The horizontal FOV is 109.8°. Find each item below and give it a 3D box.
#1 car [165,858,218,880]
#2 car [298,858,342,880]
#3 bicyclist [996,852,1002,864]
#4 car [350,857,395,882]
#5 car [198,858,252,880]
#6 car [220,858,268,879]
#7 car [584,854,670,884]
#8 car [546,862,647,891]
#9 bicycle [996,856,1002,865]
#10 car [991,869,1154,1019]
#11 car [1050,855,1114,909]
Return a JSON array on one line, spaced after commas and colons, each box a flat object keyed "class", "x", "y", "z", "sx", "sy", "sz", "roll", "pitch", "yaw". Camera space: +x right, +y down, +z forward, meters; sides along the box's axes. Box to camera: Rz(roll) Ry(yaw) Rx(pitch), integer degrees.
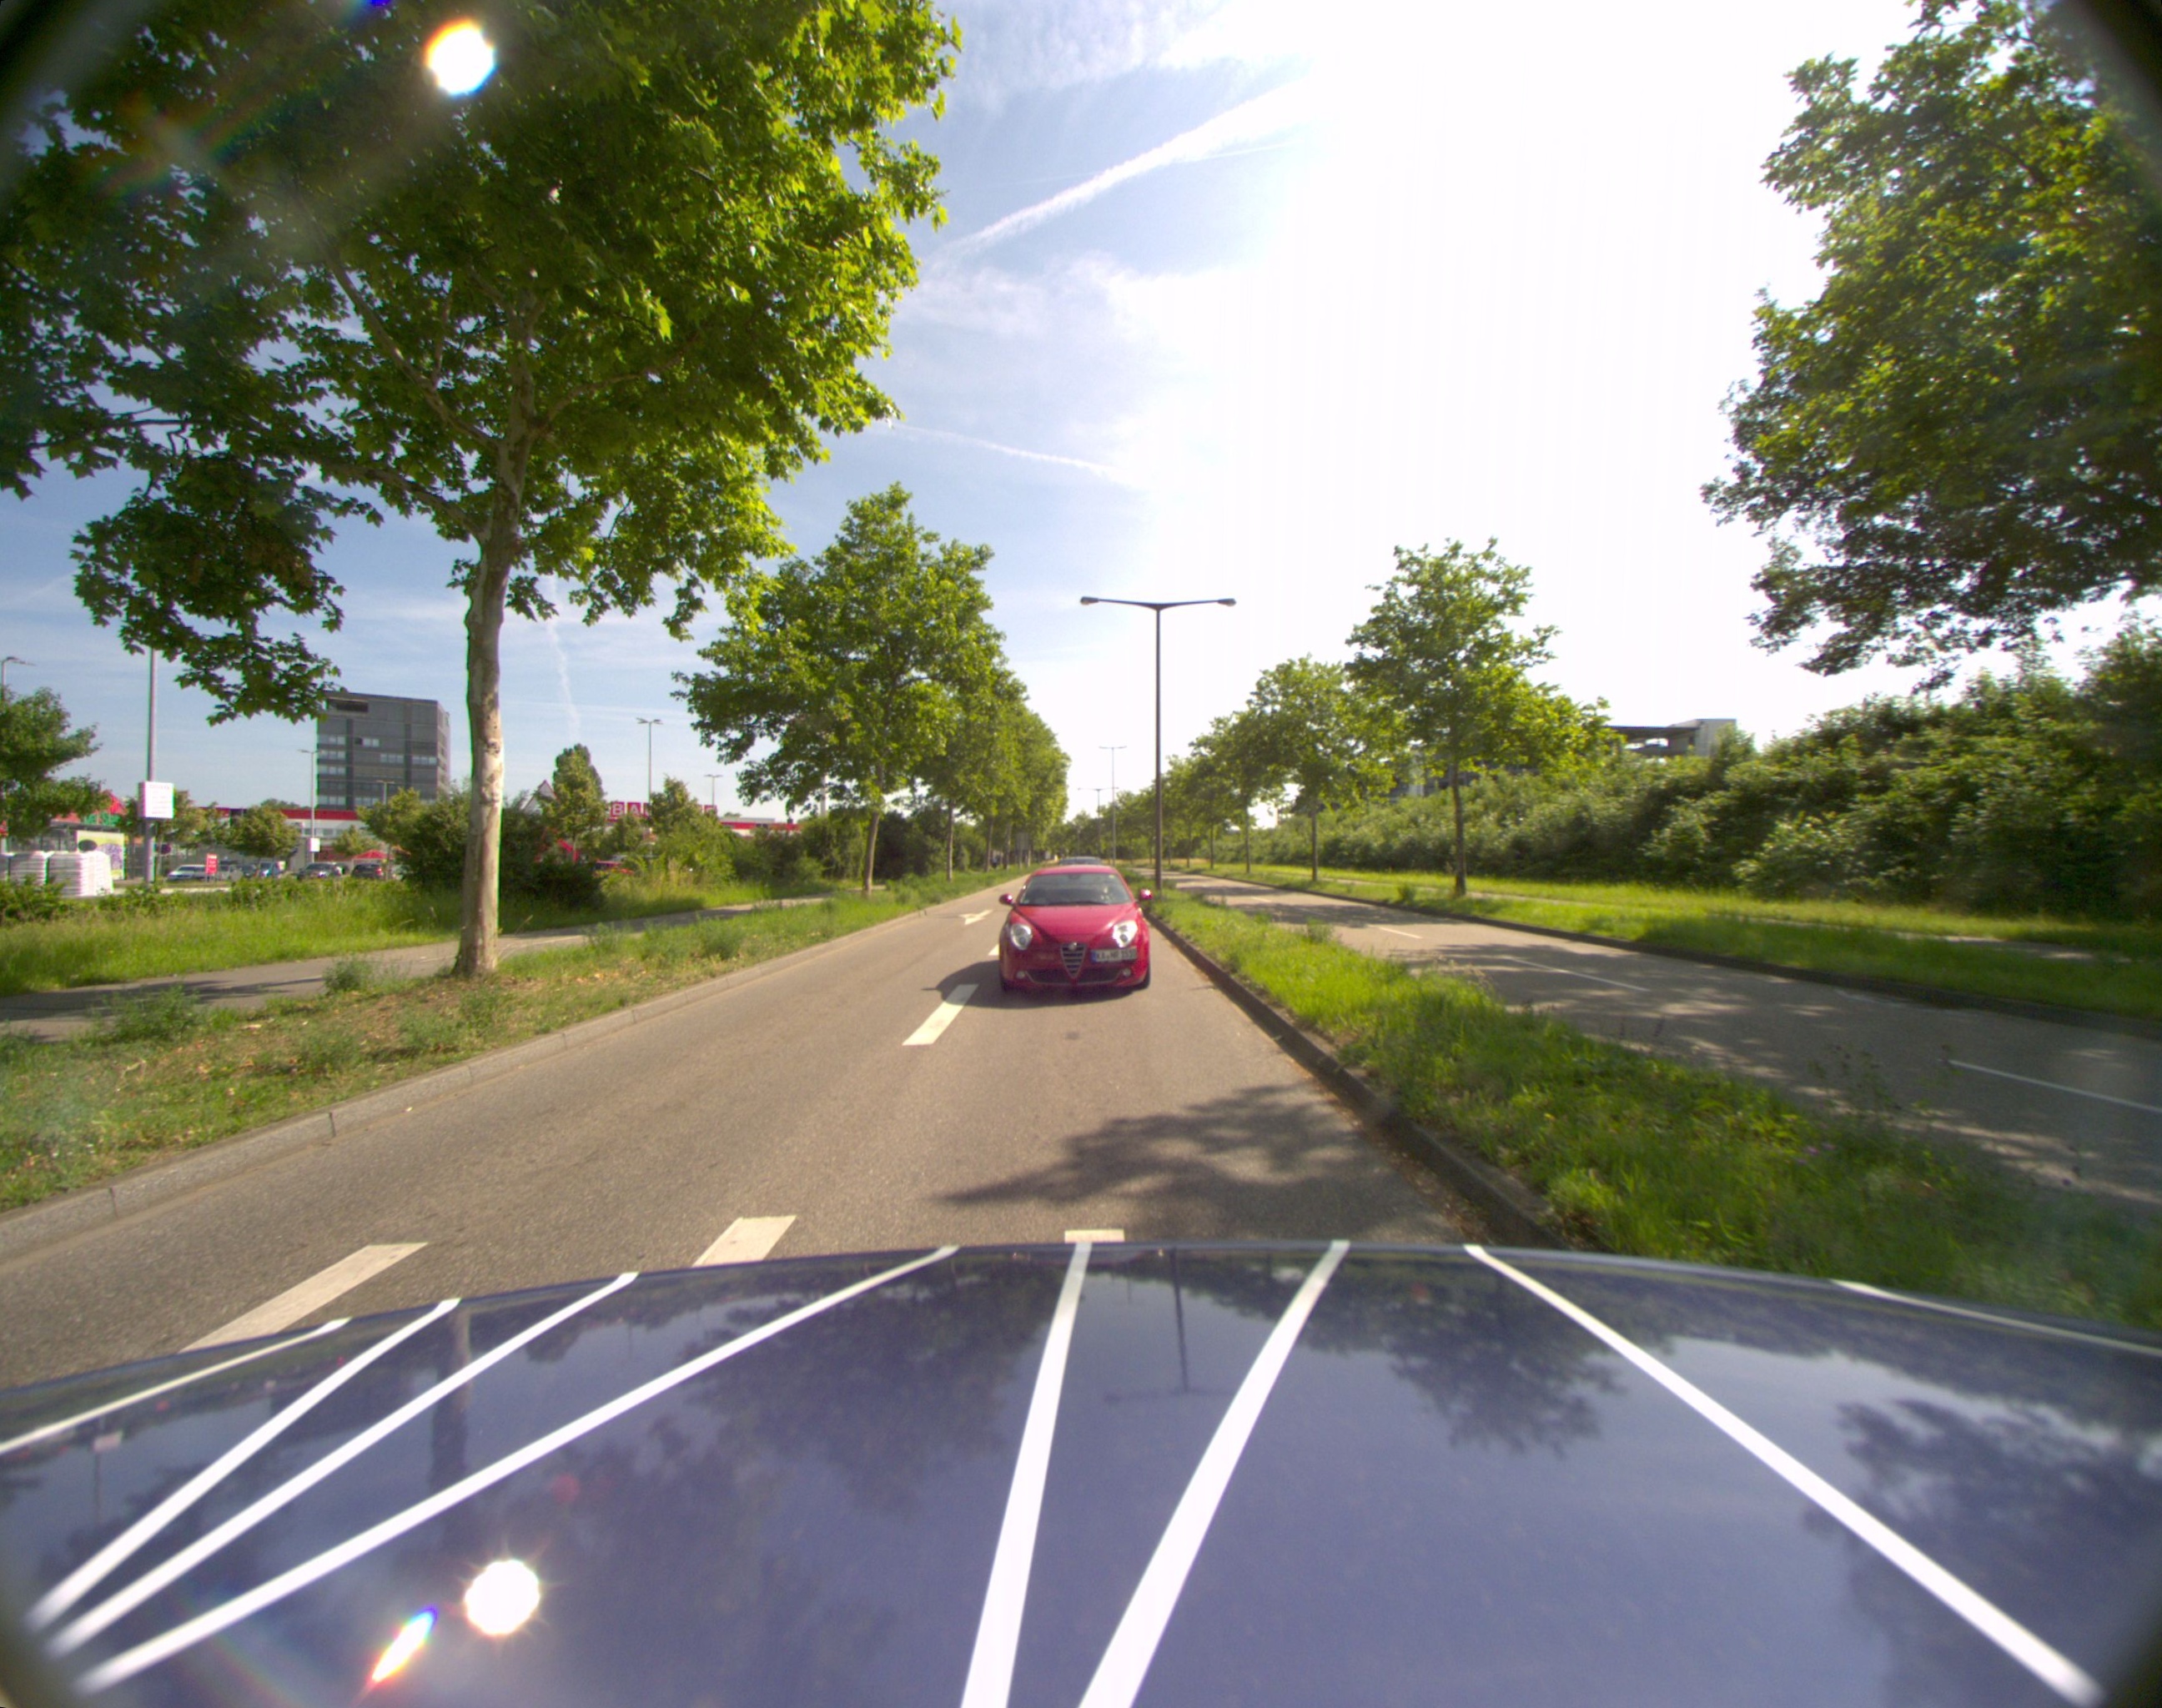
[{"class": "car", "x": -67.719, "y": 1.117, "z": 57.887, "sx": 1.693, "sy": 1.565, "sz": 3.989, "roll": 0, "pitch": 0, "yaw": -35}, {"class": "car", "x": -57.894, "y": 1.108, "z": 57.879, "sx": 1.693, "sy": 1.565, "sz": 3.989, "roll": 0, "pitch": 0, "yaw": -35}, {"class": "bicyclist", "x": -11.497, "y": 0.563, "z": 106.562, "sx": 0.687, "sy": 1.622, "sz": 1.002, "roll": 0, "pitch": 1, "yaw": 0}, {"class": "car", "x": -47.635, "y": 1.026, "z": 51.127, "sx": 1.693, "sy": 1.565, "sz": 3.989, "roll": 0, "pitch": 0, "yaw": -35}, {"class": "car", "x": -61.821, "y": 1.054, "z": 54.943, "sx": 1.693, "sy": 1.565, "sz": 3.989, "roll": 0, "pitch": 0, "yaw": -35}, {"class": "car", "x": -65.381, "y": 1.075, "z": 59.440, "sx": 1.693, "sy": 1.565, "sz": 3.989, "roll": 0, "pitch": 0, "yaw": -35}, {"class": "car", "x": -24.954, "y": 0.790, "z": 41.801, "sx": 3.870, "sy": 1.576, "sz": 1.844, "roll": 0, "pitch": 0, "yaw": -38}, {"class": "car", "x": -22.644, "y": 1.055, "z": 35.645, "sx": 3.564, "sy": 1.292, "sz": 1.766, "roll": 0, "pitch": 0, "yaw": -6}, {"class": "bicycle", "x": -11.498, "y": 0.897, "z": 106.520, "sx": 0.687, "sy": 1.230, "sz": 1.934, "roll": 0, "pitch": 0, "yaw": 0}, {"class": "car", "x": -0.069, "y": 0.971, "z": 9.863, "sx": 1.658, "sy": 1.430, "sz": 3.908, "roll": -2, "pitch": 0, "yaw": 0}, {"class": "car", "x": 0.047, "y": 0.830, "z": 24.225, "sx": 1.874, "sy": 1.536, "sz": 4.081, "roll": -1, "pitch": 0, "yaw": 0}]
